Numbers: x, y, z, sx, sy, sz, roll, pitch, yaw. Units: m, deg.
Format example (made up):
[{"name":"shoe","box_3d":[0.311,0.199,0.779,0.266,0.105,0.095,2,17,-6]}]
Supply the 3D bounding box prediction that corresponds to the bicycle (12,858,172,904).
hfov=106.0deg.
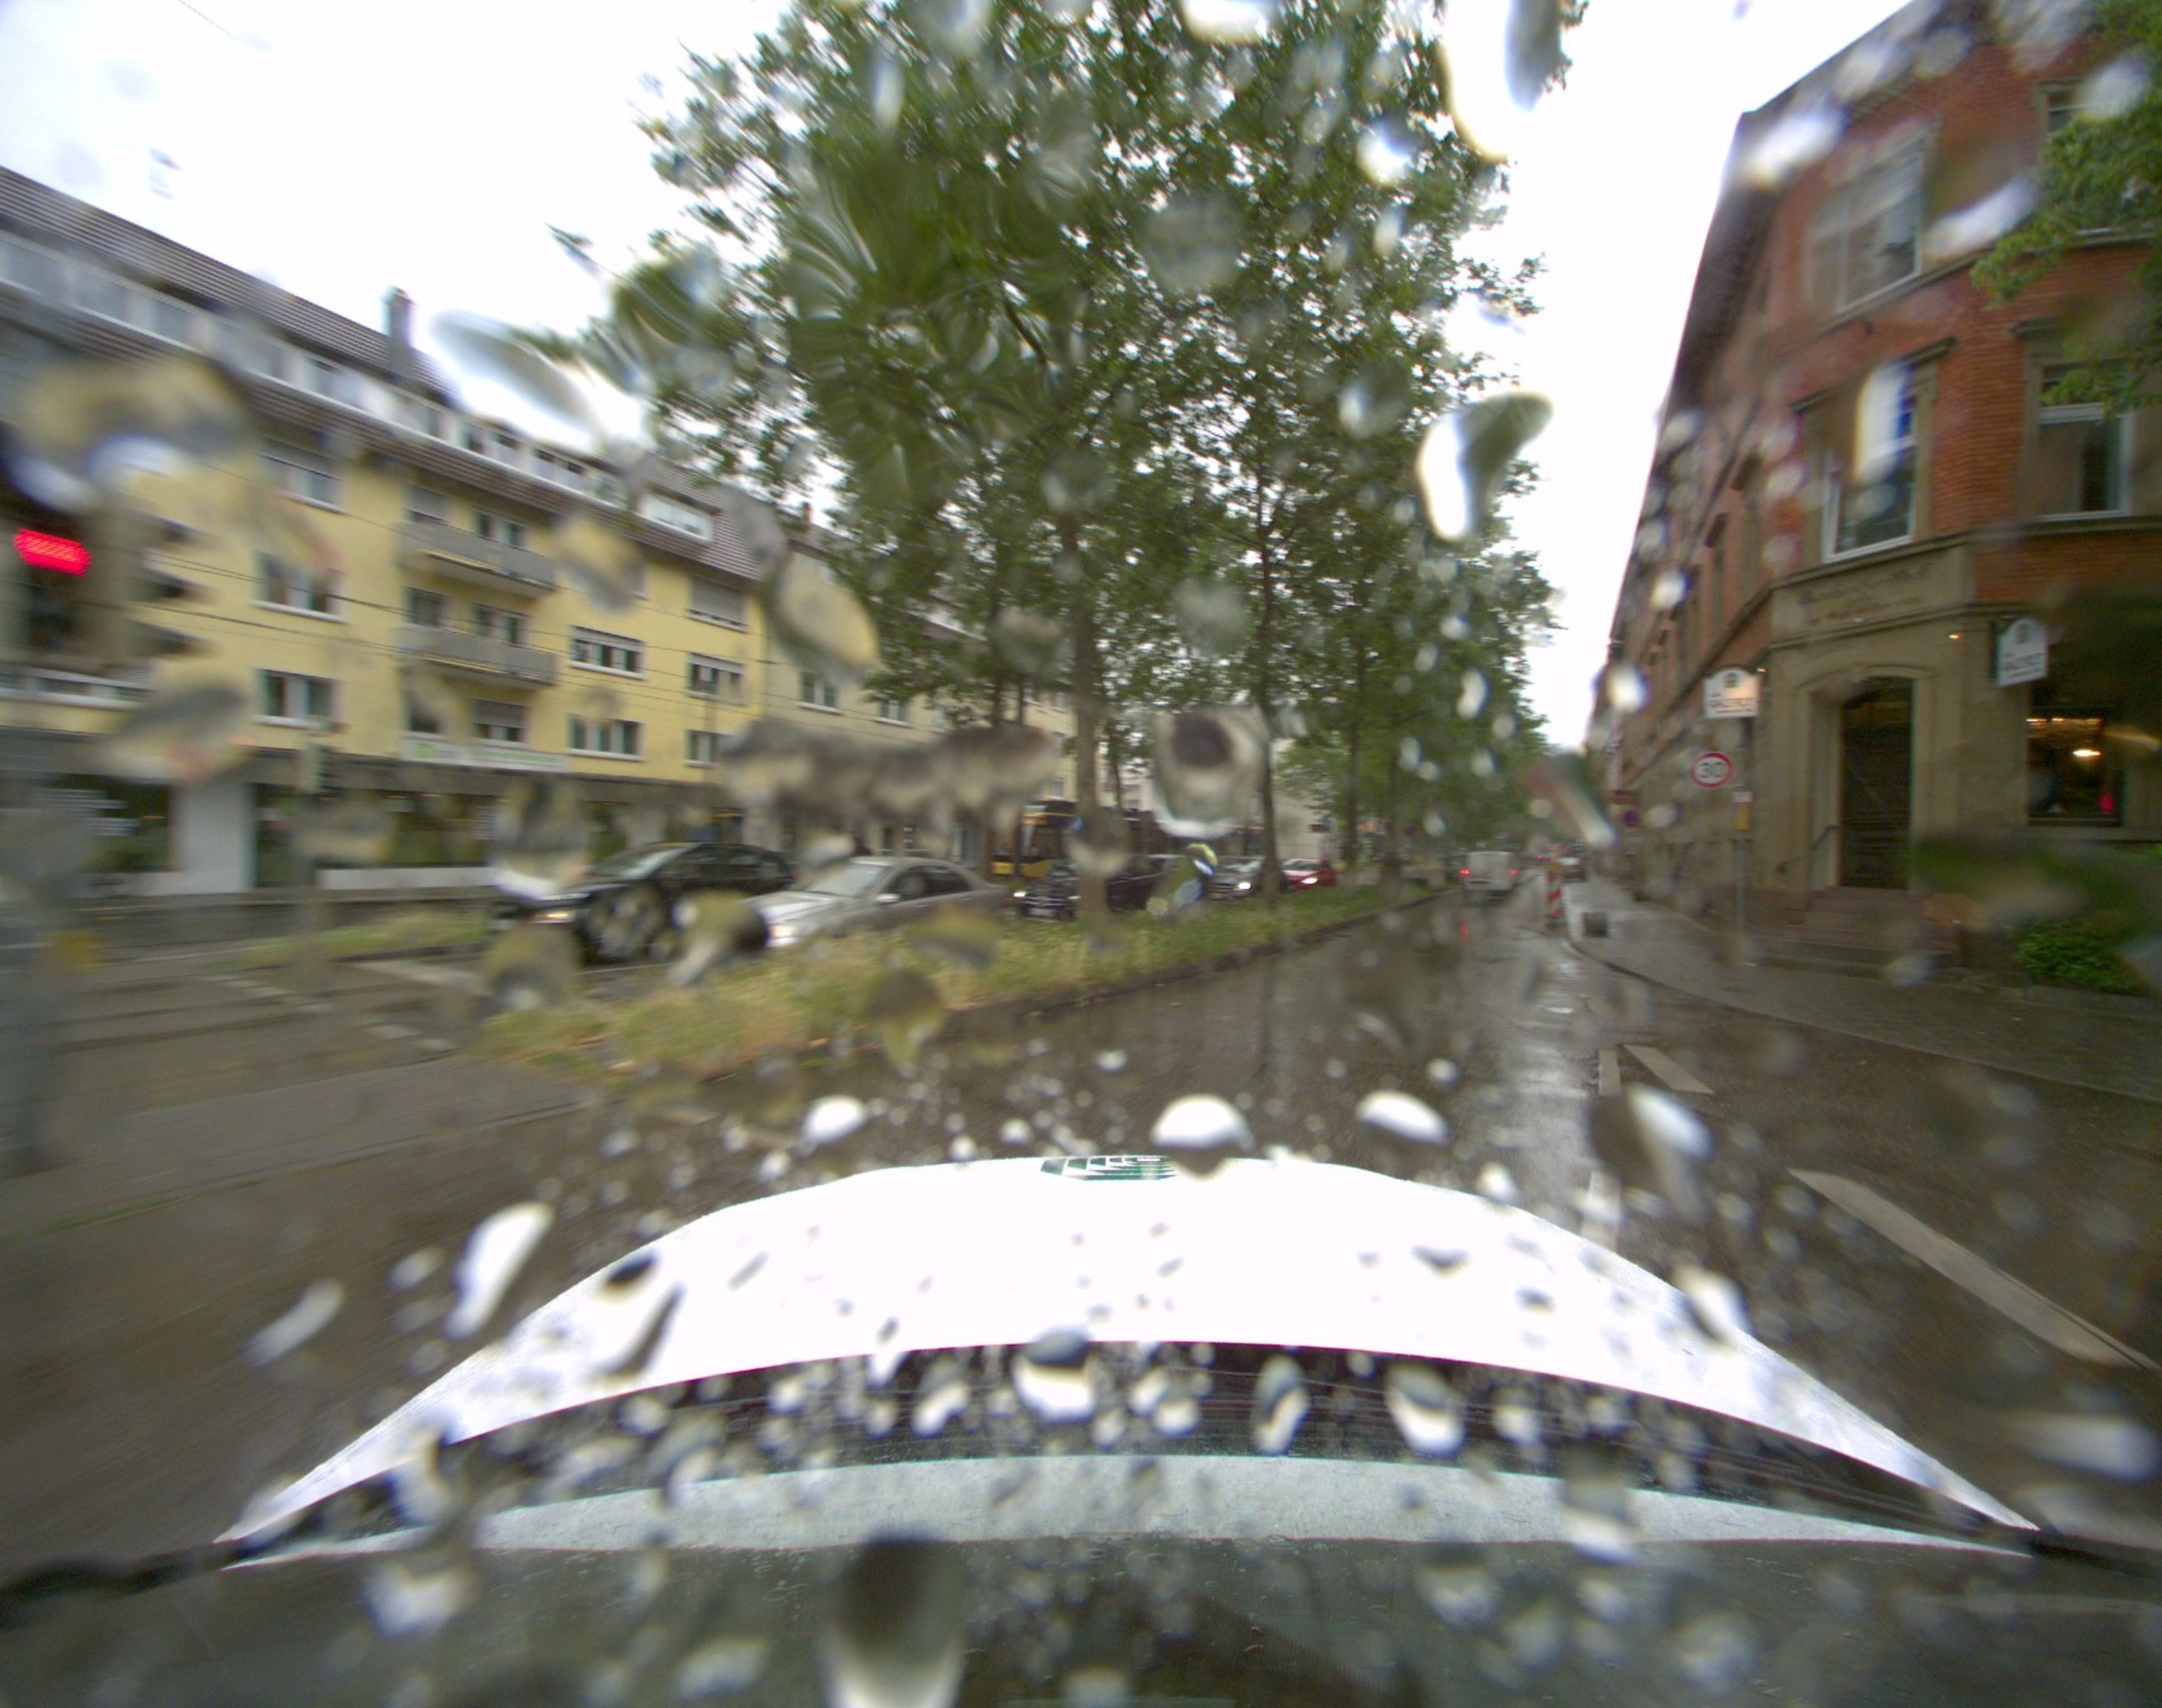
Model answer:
[{"name":"bicycle","box_3d":[-20.695,0.541,17.103,0.606,0.897,2.059,1,0,31]}]

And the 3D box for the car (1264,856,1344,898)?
[{"name":"car","box_3d":[8.294,0.788,30.041,1.725,1.397,4.259,2,1,31]}]

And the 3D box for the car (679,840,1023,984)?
[{"name":"car","box_3d":[-2.763,0.590,10.932,1.718,1.489,4.528,2,1,29]}]

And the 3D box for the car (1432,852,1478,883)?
[{"name":"car","box_3d":[20.158,0.707,43.791,1.811,1.503,4.642,3,1,30]}]

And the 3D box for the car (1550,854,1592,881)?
[{"name":"car","box_3d":[28.394,0.750,47.135,1.796,1.421,4.726,-3,-2,33]}]

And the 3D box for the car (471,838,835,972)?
[{"name":"car","box_3d":[-5.769,0.560,11.621,1.856,1.501,4.309,1,1,26]}]

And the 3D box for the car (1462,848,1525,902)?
[{"name":"car","box_3d":[15.079,0.733,29.712,1.886,1.797,4.138,1,0,28]}]

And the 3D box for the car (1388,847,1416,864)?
[{"name":"car","box_3d":[31.696,0.146,80.254,1.975,1.612,4.025,2,1,30]}]

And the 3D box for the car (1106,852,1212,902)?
[{"name":"car","box_3d":[2.578,0.667,25.976,1.725,1.397,4.156,2,1,31]}]

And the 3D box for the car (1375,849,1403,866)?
[{"name":"car","box_3d":[27.691,0.287,73.228,1.722,1.342,3.779,4,3,30]}]

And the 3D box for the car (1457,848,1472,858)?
[{"name":"car","box_3d":[63.263,-0.146,134.514,1.976,1.581,4.021,1,1,22]}]

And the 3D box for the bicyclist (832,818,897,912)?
[{"name":"bicyclist","box_3d":[-4.072,0.203,15.349,0.705,1.716,0.895,1,-1,27]}]

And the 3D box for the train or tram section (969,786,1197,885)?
[{"name":"train or tram section","box_3d":[0.854,-0.604,36.416,3.076,3.558,14.668,1,0,31]}]

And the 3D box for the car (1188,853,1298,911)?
[{"name":"car","box_3d":[4.849,0.732,23.812,1.725,1.480,4.459,2,1,31]}]

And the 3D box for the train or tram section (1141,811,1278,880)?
[{"name":"train or tram section","box_3d":[8.252,-0.382,49.140,3.076,3.558,14.765,1,0,30]}]

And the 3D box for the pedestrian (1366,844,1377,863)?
[{"name":"pedestrian","box_3d":[26.494,-0.060,74.270,0.810,1.703,0.877,1,1,30]}]

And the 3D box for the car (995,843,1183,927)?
[{"name":"car","box_3d":[0.349,0.537,17.159,1.839,1.485,4.669,2,1,31]}]
